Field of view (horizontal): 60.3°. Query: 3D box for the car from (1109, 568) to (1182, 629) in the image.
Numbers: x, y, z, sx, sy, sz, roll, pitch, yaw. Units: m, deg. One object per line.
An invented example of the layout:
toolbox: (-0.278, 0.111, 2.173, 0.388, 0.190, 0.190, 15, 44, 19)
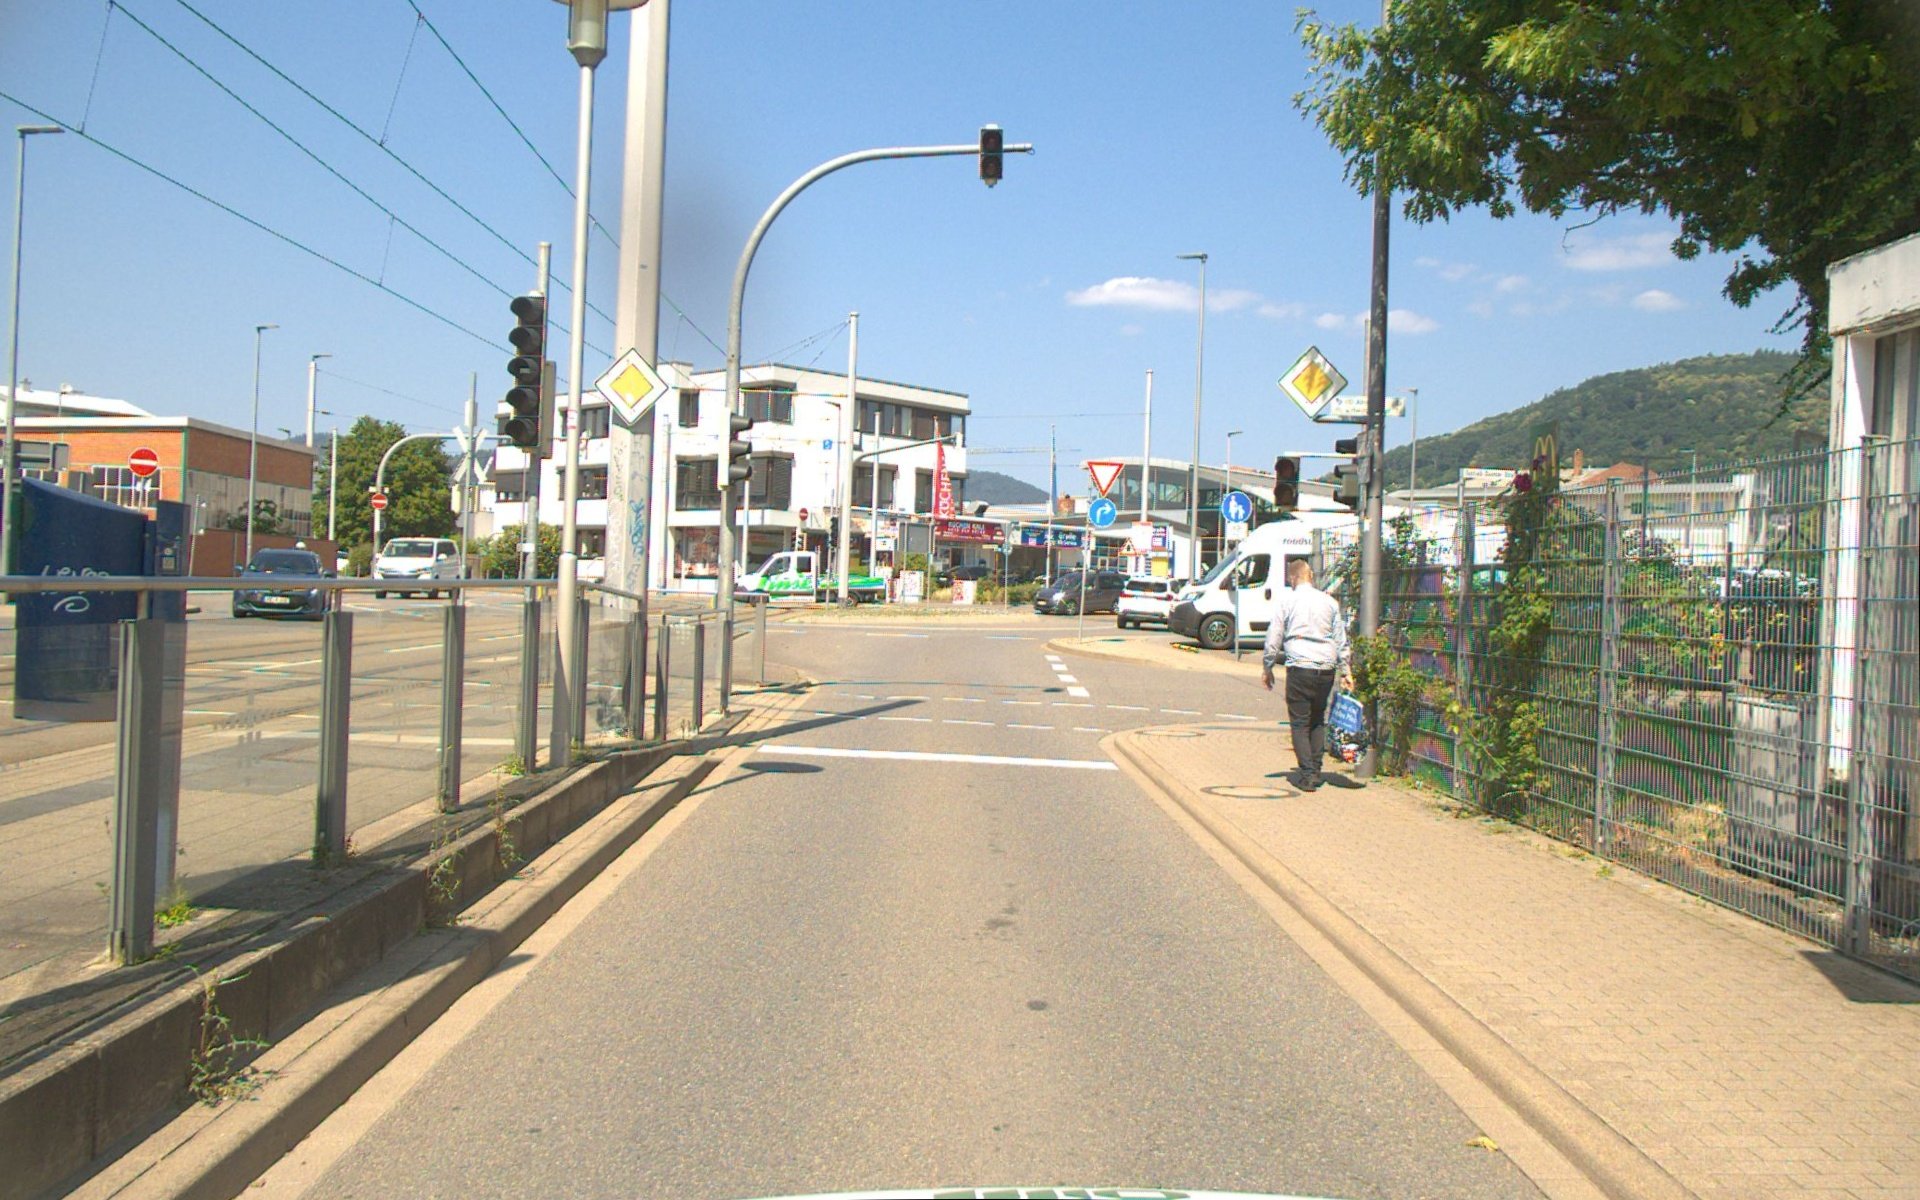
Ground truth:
car: (5.832, -0.072, 51.612, 1.951, 1.763, 4.568, 2, 1, 10)

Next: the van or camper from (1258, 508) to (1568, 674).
van or camper: (8.723, -0.222, 32.258, 5.391, 2.862, 2.049, 3, 2, 3)

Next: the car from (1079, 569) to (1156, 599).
car: (9.109, -0.905, 95.344, 1.853, 1.616, 4.898, 0, -1, 42)

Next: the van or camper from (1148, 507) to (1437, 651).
van or camper: (6.958, -0.462, 35.125, 5.690, 2.822, 2.092, 2, 1, 2)

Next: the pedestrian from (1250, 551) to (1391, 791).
pedestrian: (2.700, 0.511, 12.467, 0.796, 1.729, 0.887, 1, 1, -3)

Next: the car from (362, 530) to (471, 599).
car: (-17.699, -1.099, 54.103, 2.120, 2.049, 5.014, 2, 0, -4)

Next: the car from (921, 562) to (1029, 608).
car: (0.750, -0.709, 78.741, 5.239, 2.000, 1.935, 1, 1, -44)

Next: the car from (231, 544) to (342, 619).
car: (-14.599, -0.452, 36.040, 1.877, 1.467, 4.572, 2, 1, -18)

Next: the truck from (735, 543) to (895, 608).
truck: (-5.857, -0.975, 66.619, 6.251, 2.378, 2.205, 2, 1, -9)

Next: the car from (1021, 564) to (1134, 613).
car: (4.976, -0.473, 69.824, 4.346, 1.850, 1.971, 2, 1, -29)

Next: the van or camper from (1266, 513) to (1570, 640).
van or camper: (11.292, -0.572, 41.130, 6.917, 2.998, 2.335, 0, 0, -1)

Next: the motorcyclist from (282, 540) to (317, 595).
motorcyclist: (-18.408, -0.900, 46.083, 0.824, 1.501, 0.956, 2, 0, -23)
